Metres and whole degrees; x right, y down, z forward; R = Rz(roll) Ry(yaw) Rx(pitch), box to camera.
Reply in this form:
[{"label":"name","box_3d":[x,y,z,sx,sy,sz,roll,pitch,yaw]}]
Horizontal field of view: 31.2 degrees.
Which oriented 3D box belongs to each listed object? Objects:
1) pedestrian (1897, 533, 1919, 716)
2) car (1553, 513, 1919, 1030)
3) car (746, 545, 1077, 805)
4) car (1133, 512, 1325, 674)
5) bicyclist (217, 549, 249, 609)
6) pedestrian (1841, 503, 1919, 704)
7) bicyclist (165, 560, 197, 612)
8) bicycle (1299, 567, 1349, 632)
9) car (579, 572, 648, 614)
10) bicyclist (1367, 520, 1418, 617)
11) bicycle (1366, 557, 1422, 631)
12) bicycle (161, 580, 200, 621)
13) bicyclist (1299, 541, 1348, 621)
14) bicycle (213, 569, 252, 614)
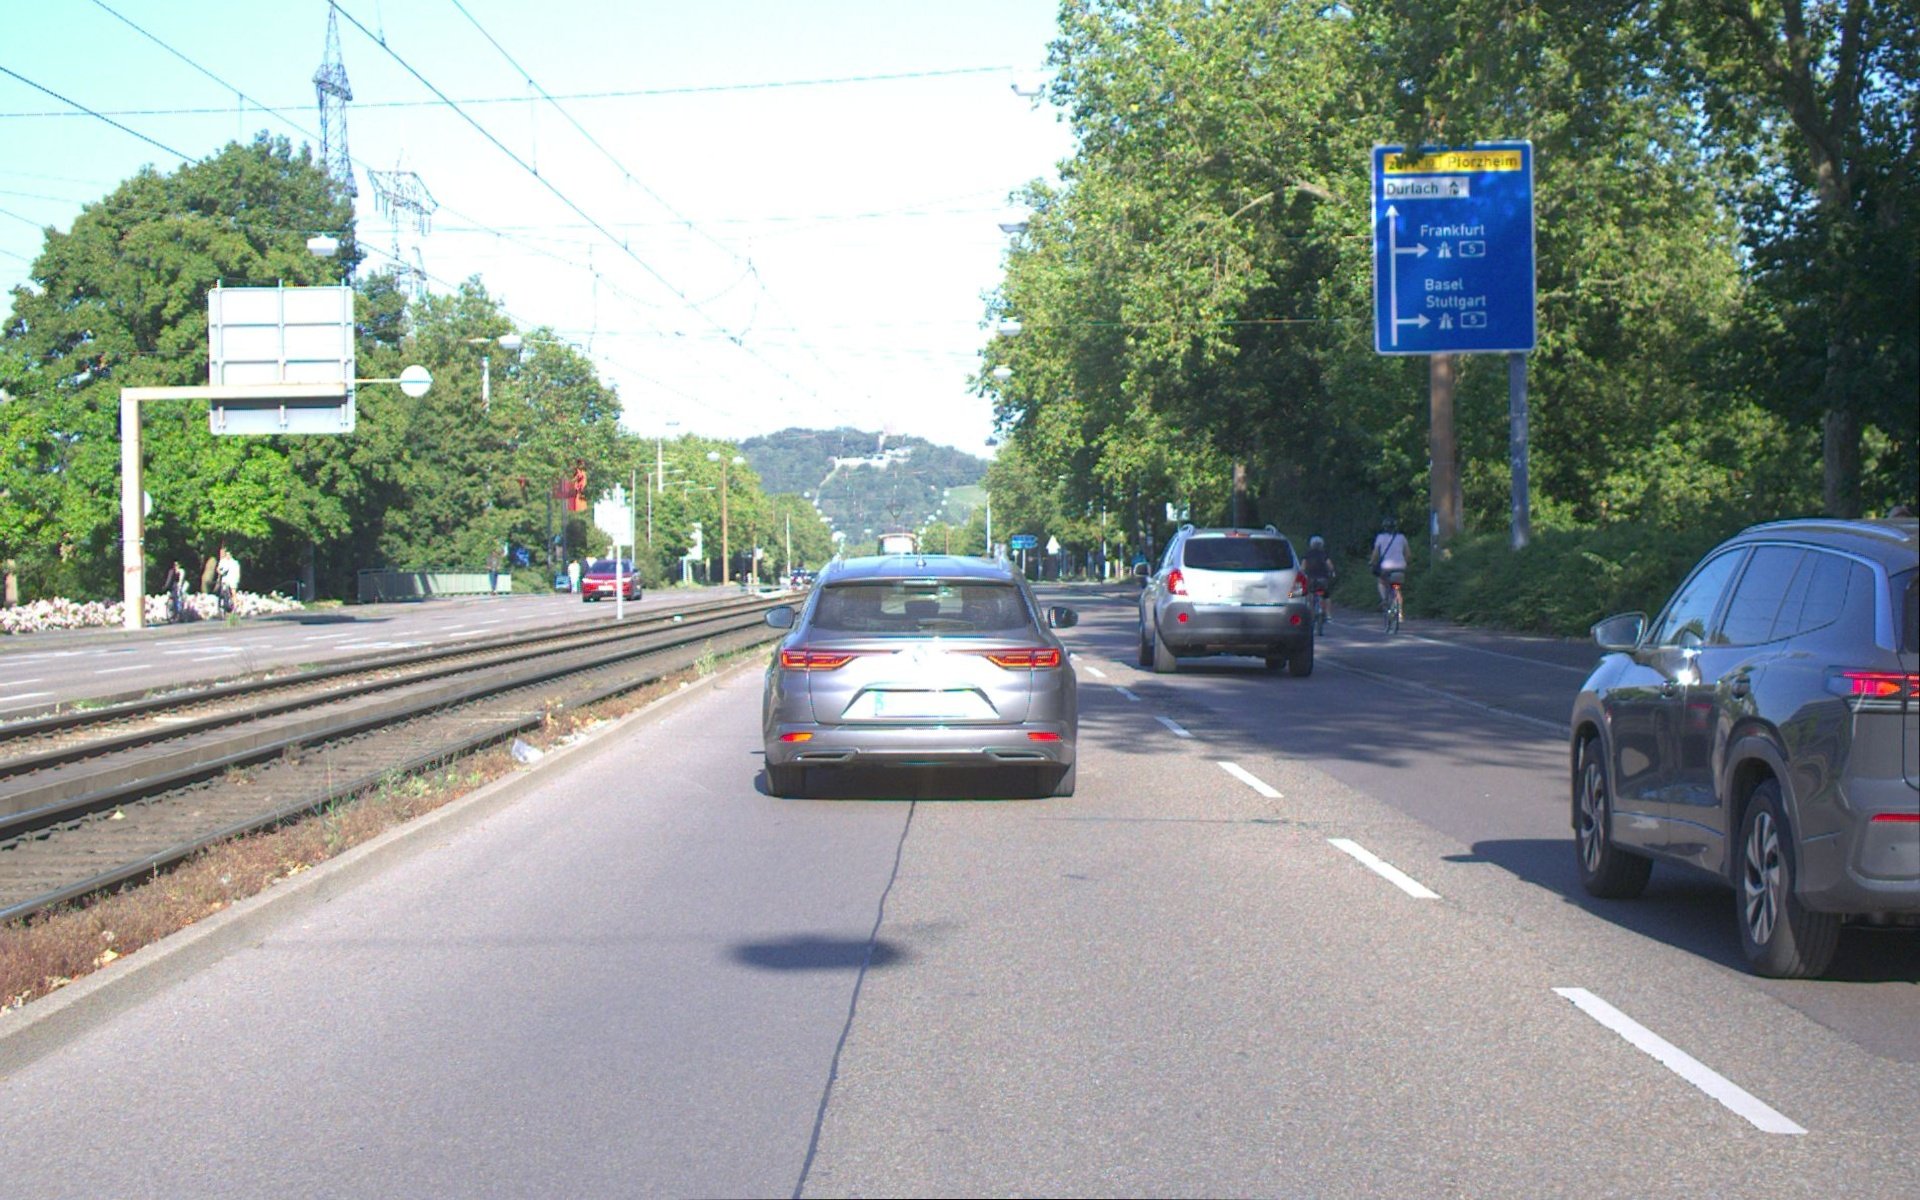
[{"label":"pedestrian","box_3d":[8.111,0.189,28.007,0.723,1.475,0.722,-1,1,0]},{"label":"car","box_3d":[3.673,0.519,13.272,1.844,1.655,4.440,1,1,-2]},{"label":"car","box_3d":[-0.255,0.386,21.749,1.866,1.462,4.666,0,1,1]},{"label":"car","box_3d":[3.156,-0.119,41.025,1.883,1.789,4.000,2,1,-1]},{"label":"bicyclist","box_3d":[-20.357,-0.602,96.264,0.602,1.653,0.963,2,1,3]},{"label":"pedestrian","box_3d":[8.113,0.019,29.746,0.722,1.702,0.813,-1,1,0]},{"label":"bicyclist","box_3d":[-20.572,-0.373,90.781,0.625,1.369,0.880,2,1,0]},{"label":"bicycle","box_3d":[5.699,-0.010,53.887,0.565,0.971,1.788,-1,1,0]},{"label":"car","box_3d":[-12.943,-0.280,128.539,2.039,1.498,4.888,-1,1,0]},{"label":"bicyclist","box_3d":[6.769,-0.496,53.843,0.685,1.503,0.891,0,1,0]},{"label":"bicycle","box_3d":[6.786,-0.106,53.828,0.622,1.116,1.813,-1,1,0]},{"label":"bicycle","box_3d":[-20.585,0.010,90.805,0.625,1.055,1.703,2,1,0]},{"label":"bicyclist","box_3d":[5.693,-0.305,53.882,0.641,1.222,0.891,-1,1,0]},{"label":"bicycle","box_3d":[-20.372,-0.243,96.239,0.602,1.215,1.748,2,1,3]}]
